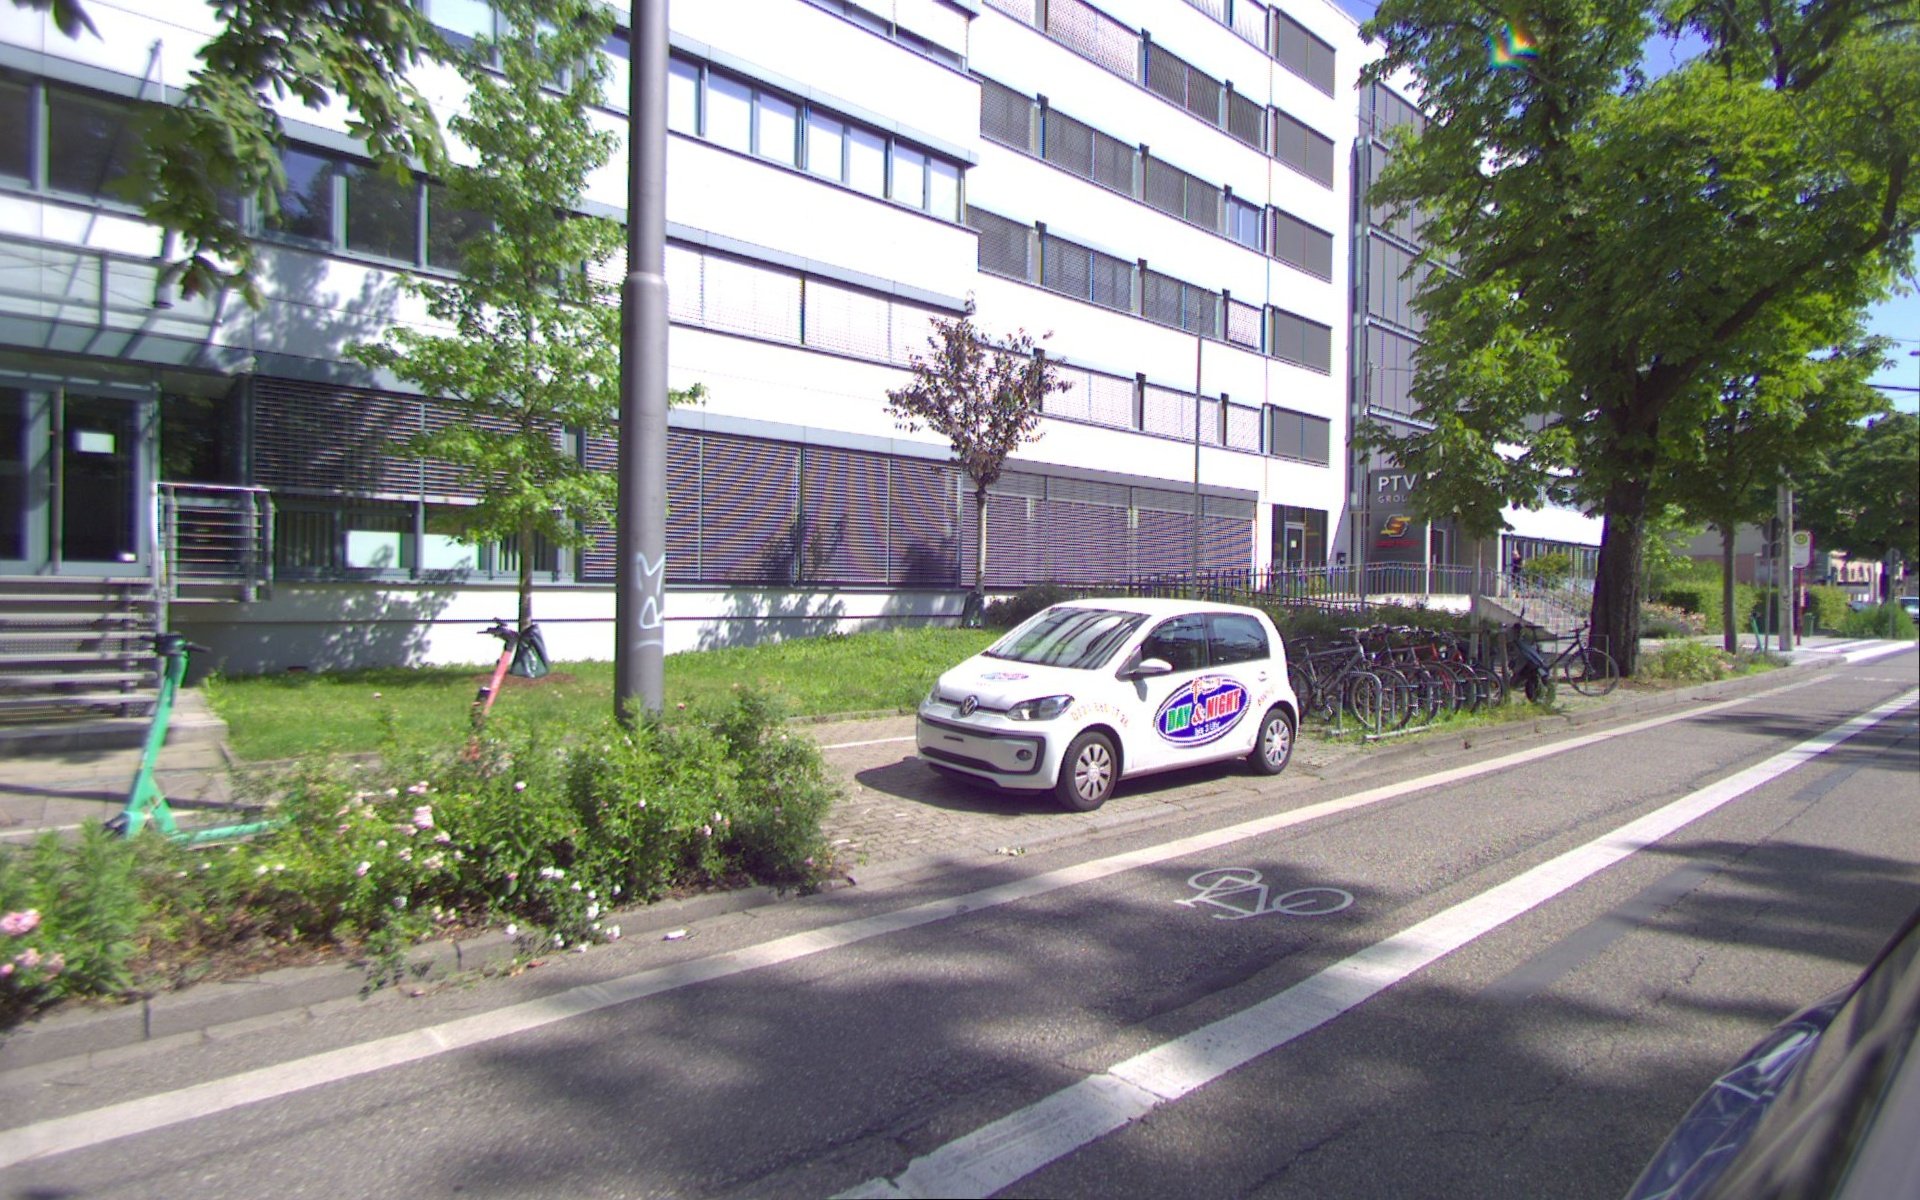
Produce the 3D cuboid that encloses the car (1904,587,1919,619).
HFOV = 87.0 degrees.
[{"bbox_3d":[65.649,0.237,68.510,5.100,2.080,1.981,0,3,-41],"label":"car"}]

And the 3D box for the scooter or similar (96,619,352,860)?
[{"bbox_3d":[-3.922,0.688,5.428,1.073,1.142,0.379,0,1,-43],"label":"scooter or similar"}]

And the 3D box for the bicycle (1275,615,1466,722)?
[{"bbox_3d":[4.537,0.733,11.311,0.541,1.097,1.913,0,-2,-43],"label":"bicycle"}]

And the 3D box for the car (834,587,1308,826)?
[{"bbox_3d":[1.053,0.653,8.191,3.876,1.469,1.594,0,1,-41],"label":"car"}]

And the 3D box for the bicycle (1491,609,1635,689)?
[{"bbox_3d":[9.110,0.708,15.348,0.586,1.096,1.776,0,1,-43],"label":"bicycle"}]

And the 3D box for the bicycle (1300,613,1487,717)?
[{"bbox_3d":[4.975,0.724,11.725,0.541,1.097,1.913,0,-2,-43],"label":"bicycle"}]

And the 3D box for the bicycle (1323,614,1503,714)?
[{"bbox_3d":[5.390,0.727,12.146,0.541,1.096,1.913,0,-1,-43],"label":"bicycle"}]

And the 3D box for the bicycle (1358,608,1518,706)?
[{"bbox_3d":[6.163,0.696,13.132,0.586,1.134,1.776,0,1,-43],"label":"bicycle"}]

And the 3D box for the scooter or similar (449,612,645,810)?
[{"bbox_3d":[-2.684,0.678,6.640,1.124,1.169,0.387,0,1,-43],"label":"scooter or similar"}]

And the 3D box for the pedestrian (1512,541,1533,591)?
[{"bbox_3d":[20.168,-1.205,36.272,0.537,1.750,0.499,0,0,-41],"label":"pedestrian"}]

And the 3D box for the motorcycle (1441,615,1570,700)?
[{"bbox_3d":[7.503,0.762,13.973,0.525,1.059,1.467,0,1,-43],"label":"motorcycle"}]

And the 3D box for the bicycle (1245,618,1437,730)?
[{"bbox_3d":[4.053,0.750,10.906,0.541,1.097,1.887,0,-1,-43],"label":"bicycle"}]

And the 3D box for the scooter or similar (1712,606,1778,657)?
[{"bbox_3d":[18.531,0.731,23.902,0.483,1.169,1.147,0,0,-34],"label":"scooter or similar"}]
